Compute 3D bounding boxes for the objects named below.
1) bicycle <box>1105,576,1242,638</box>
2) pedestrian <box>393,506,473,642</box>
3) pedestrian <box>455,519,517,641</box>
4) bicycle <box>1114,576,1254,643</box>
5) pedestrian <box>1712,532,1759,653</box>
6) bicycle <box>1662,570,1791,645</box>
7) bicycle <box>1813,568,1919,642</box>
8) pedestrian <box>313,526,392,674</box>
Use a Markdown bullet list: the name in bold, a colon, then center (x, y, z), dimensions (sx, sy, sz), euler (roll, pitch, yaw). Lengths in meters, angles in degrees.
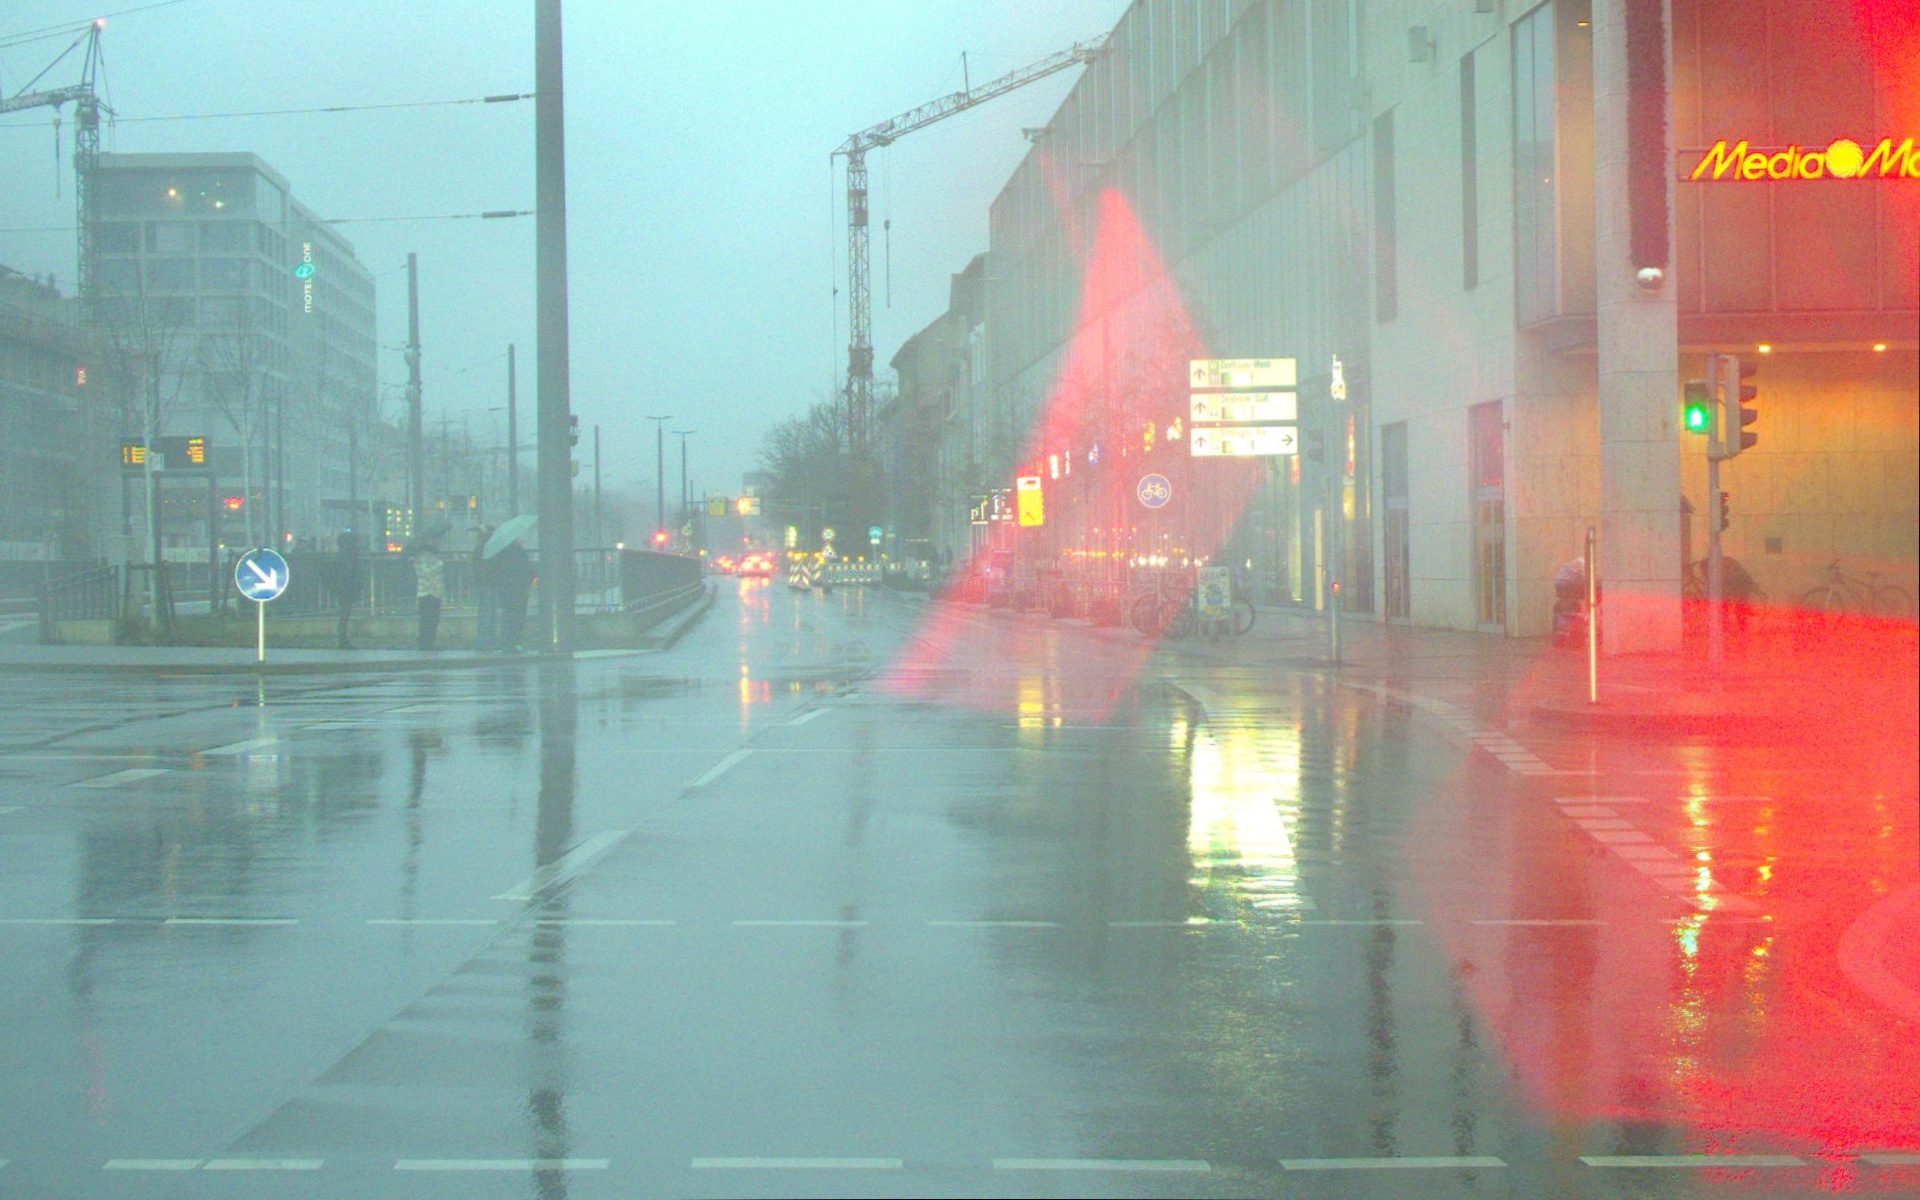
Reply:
- **bicycle**: center (3.872, 0.124, 62.456), dimensions (2.425, 1.095, 0.712), euler (-1, 0, -2)
- **pedestrian**: center (-7.133, -0.351, 46.513), dimensions (0.821, 1.825, 0.786), euler (1, 0, -31)
- **pedestrian**: center (-6.616, -0.279, 47.984), dimensions (0.612, 1.680, 0.577), euler (1, 1, 42)
- **bicycle**: center (4.005, 0.175, 61.597), dimensions (2.442, 1.150, 0.674), euler (-1, 0, -1)
- **pedestrian**: center (11.292, -0.111, 50.084), dimensions (0.600, 1.739, 0.524), euler (1, 0, 8)
- **bicycle**: center (11.295, 0.108, 50.673), dimensions (1.767, 1.066, 0.525), euler (1, 0, -8)
- **bicycle**: center (13.510, 0.069, 50.817), dimensions (1.646, 1.066, 0.525), euler (1, 0, -4)
- **pedestrian**: center (-8.372, -0.004, 47.367), dimensions (0.785, 2.007, 0.726), euler (1, 1, 42)
